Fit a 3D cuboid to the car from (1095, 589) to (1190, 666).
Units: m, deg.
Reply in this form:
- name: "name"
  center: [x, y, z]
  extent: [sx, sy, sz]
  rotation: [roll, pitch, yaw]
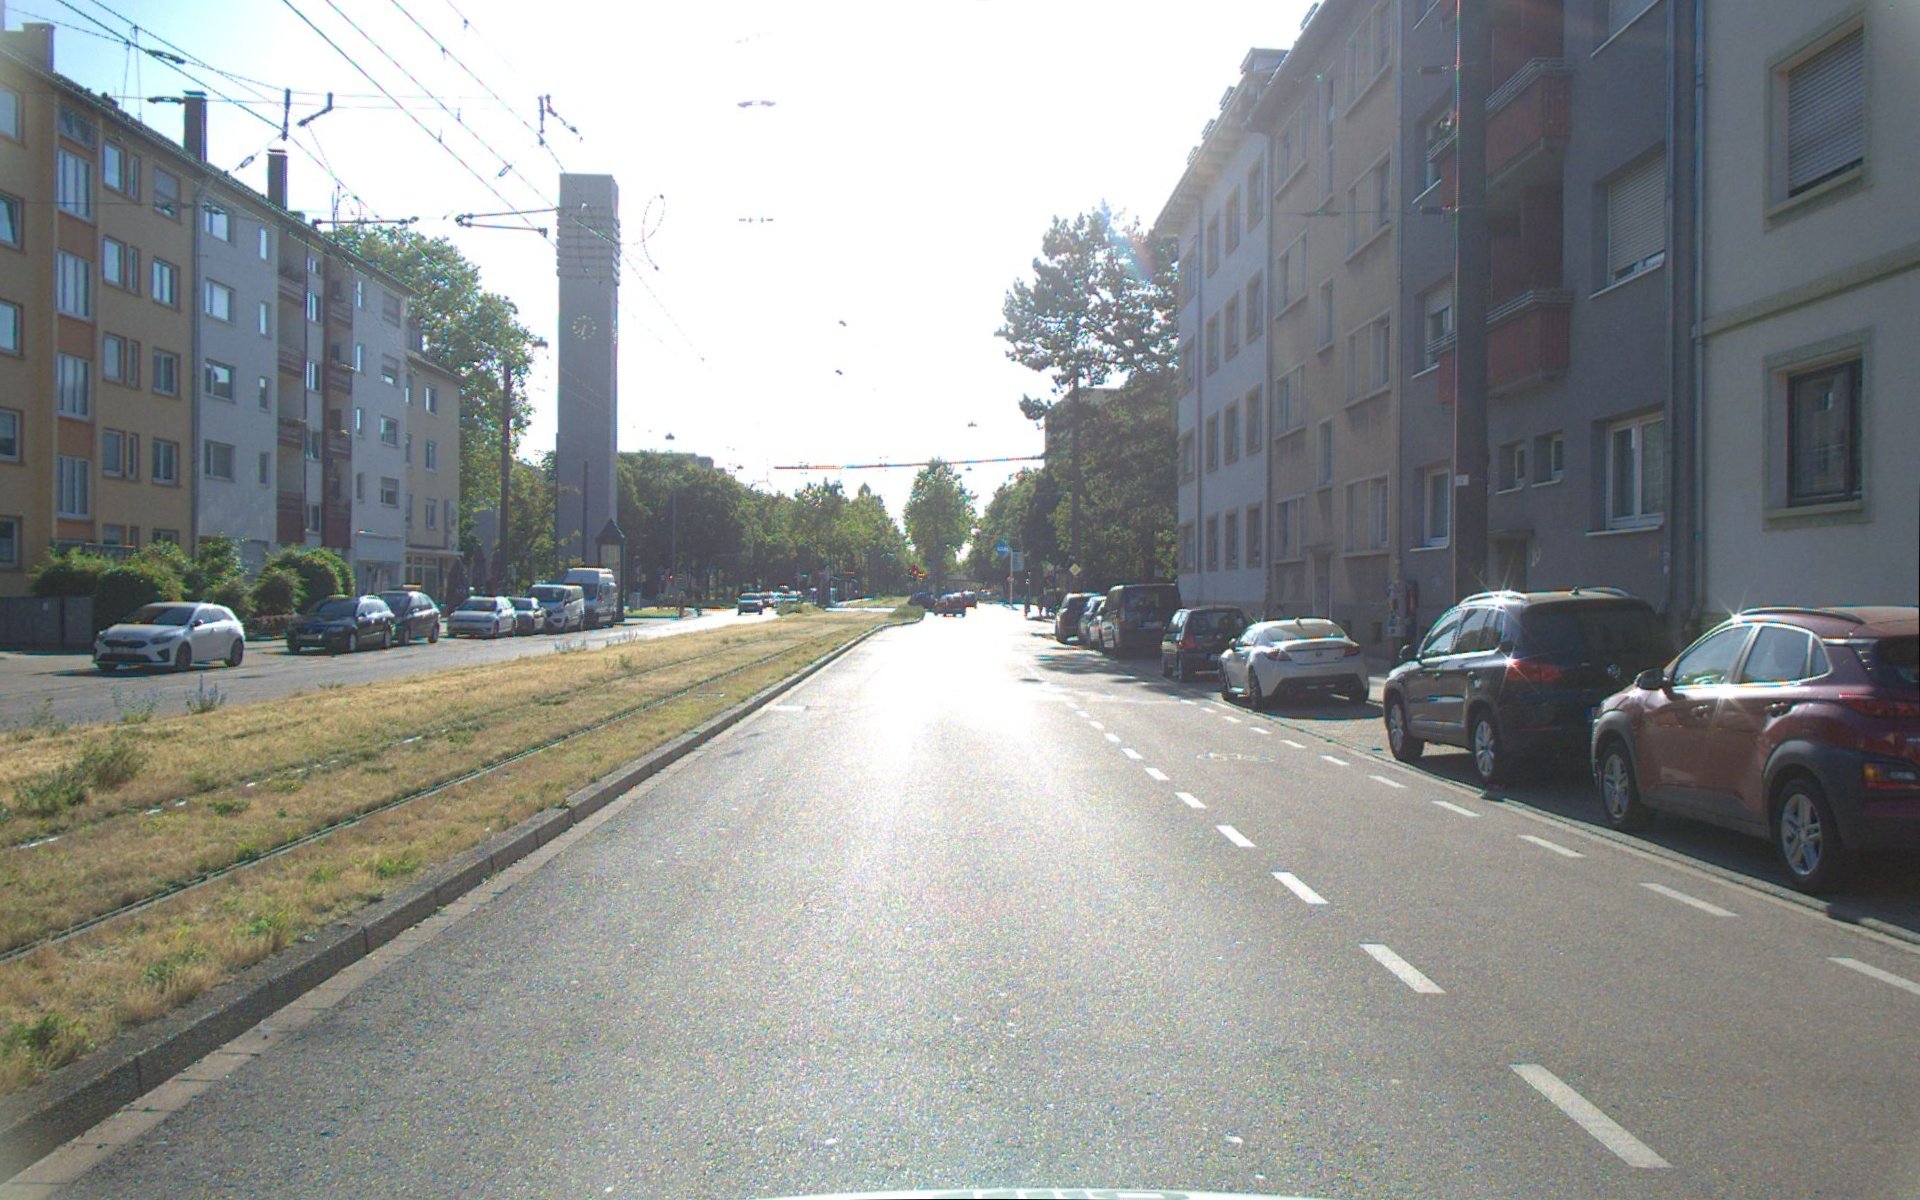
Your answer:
- name: "car"
  center: [4.973, 0.706, 45.665]
  extent: [1.874, 1.932, 5.134]
  rotation: [-3, 0, -1]

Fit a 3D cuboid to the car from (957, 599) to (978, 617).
- name: "car"
  center: [0.766, 0.764, 163.964]
  extent: [1.856, 1.639, 4.499]
  rotation: [3, 0, -2]

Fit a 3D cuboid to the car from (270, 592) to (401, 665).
- name: "car"
  center: [-17.738, 0.768, 47.186]
  extent: [1.953, 1.870, 4.608]
  rotation: [3, 0, -1]

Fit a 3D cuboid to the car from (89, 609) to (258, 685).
- name: "car"
  center: [-17.442, 0.999, 36.926]
  extent: [1.693, 1.480, 4.375]
  rotation: [2, 0, -1]

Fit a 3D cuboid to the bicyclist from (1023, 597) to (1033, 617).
- name: "bicyclist"
  center: [4.814, 0.497, 116.595]
  extent: [0.625, 1.346, 0.803]
  rotation: [3, 0, 1]

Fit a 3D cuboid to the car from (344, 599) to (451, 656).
- name: "car"
  center: [-17.889, 0.841, 52.767]
  extent: [1.953, 1.635, 4.150]
  rotation: [3, 0, -1]

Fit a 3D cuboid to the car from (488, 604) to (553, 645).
- name: "car"
  center: [-17.866, 0.972, 67.380]
  extent: [1.661, 1.541, 4.323]
  rotation: [2, 0, -3]

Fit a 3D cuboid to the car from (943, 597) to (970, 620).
- name: "car"
  center: [-0.248, 0.571, 116.785]
  extent: [1.660, 1.534, 3.697]
  rotation: [2, 0, -3]

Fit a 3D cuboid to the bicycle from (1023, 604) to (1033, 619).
- name: "bicycle"
  center: [4.799, 0.806, 116.546]
  extent: [0.634, 0.989, 1.804]
  rotation: [3, 0, 2]

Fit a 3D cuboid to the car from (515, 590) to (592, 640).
- name: "car"
  center: [-17.972, 0.636, 73.428]
  extent: [1.991, 2.056, 5.370]
  rotation: [3, 0, 0]

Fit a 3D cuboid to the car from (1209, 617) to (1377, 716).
- name: "car"
  center: [5.242, 1.007, 26.563]
  extent: [1.668, 1.297, 4.302]
  rotation: [-3, 0, -2]

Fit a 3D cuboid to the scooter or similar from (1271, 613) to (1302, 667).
- name: "scooter or similar"
  center: [8.037, 0.973, 40.751]
  extent: [0.449, 1.260, 1.338]
  rotation: [-3, 0, 0]

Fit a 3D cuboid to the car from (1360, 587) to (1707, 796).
- name: "car"
  center: [5.296, 0.741, 15.920]
  extent: [1.603, 1.676, 4.371]
  rotation: [-2, 0, -3]

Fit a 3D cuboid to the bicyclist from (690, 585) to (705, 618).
- name: "bicyclist"
  center: [-16.743, 0.117, 105.658]
  extent: [0.757, 2.048, 0.648]
  rotation: [3, 0, -1]

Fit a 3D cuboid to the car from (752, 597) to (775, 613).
- name: "car"
  center: [-19.587, 0.513, 164.952]
  extent: [1.770, 1.560, 4.360]
  rotation: [0, 0, -1]

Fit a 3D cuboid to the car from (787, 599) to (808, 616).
- name: "car"
  center: [-16.323, 0.744, 166.224]
  extent: [1.653, 1.560, 4.360]
  rotation: [0, 0, -1]

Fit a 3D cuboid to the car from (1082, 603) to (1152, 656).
- name: "car"
  center: [4.756, 0.867, 50.577]
  extent: [1.480, 1.504, 4.235]
  rotation: [-1, 0, -3]

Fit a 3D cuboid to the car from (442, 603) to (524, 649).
- name: "car"
  center: [-17.801, 0.931, 61.945]
  extent: [1.854, 1.517, 4.701]
  rotation: [2, 0, -3]

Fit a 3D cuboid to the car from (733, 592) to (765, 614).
- name: "car"
  center: [-14.619, 0.195, 114.628]
  extent: [1.659, 1.473, 4.217]
  rotation: [-1, 0, 0]

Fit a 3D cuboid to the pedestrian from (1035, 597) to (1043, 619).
- name: "pedestrian"
  center: [5.670, 0.539, 118.202]
  extent: [0.518, 1.555, 0.628]
  rotation: [-1, 0, 5]

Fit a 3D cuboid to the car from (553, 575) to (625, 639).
- name: "car"
  center: [-18.017, 0.324, 80.598]
  extent: [1.990, 2.918, 6.228]
  rotation: [2, 0, 0]

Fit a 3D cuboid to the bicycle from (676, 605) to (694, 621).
- name: "bicycle"
  center: [-16.694, 0.773, 100.304]
  extent: [0.752, 0.895, 2.068]
  rotation: [-1, 0, -1]

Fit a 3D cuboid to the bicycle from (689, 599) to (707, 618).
- name: "bicycle"
  center: [-16.807, 0.565, 106.013]
  extent: [0.752, 1.166, 2.474]
  rotation: [-1, 0, -1]

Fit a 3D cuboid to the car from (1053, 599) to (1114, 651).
- name: "car"
  center: [4.493, 0.879, 60.841]
  extent: [1.840, 1.747, 4.934]
  rotation: [-2, 0, 0]

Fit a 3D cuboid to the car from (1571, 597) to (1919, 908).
- name: "car"
  center: [5.481, 0.774, 10.546]
  extent: [1.602, 1.544, 4.188]
  rotation: [0, 0, 0]

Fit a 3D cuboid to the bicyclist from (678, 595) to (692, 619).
- name: "bicyclist"
  center: [-16.682, 0.423, 100.271]
  extent: [0.757, 1.408, 0.648]
  rotation: [0, 0, -1]

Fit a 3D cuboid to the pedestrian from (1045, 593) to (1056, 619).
- name: "pedestrian"
  center: [6.479, 0.426, 118.135]
  extent: [0.688, 1.821, 0.694]
  rotation: [-2, 1, 5]

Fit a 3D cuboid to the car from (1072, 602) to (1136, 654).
- name: "car"
  center: [4.779, 0.896, 55.326]
  extent: [1.562, 1.606, 3.893]
  rotation: [-2, 0, -3]

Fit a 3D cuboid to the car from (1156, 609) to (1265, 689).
- name: "car"
  center: [5.134, 0.967, 34.316]
  extent: [1.602, 1.479, 3.789]
  rotation: [-2, 0, -1]
